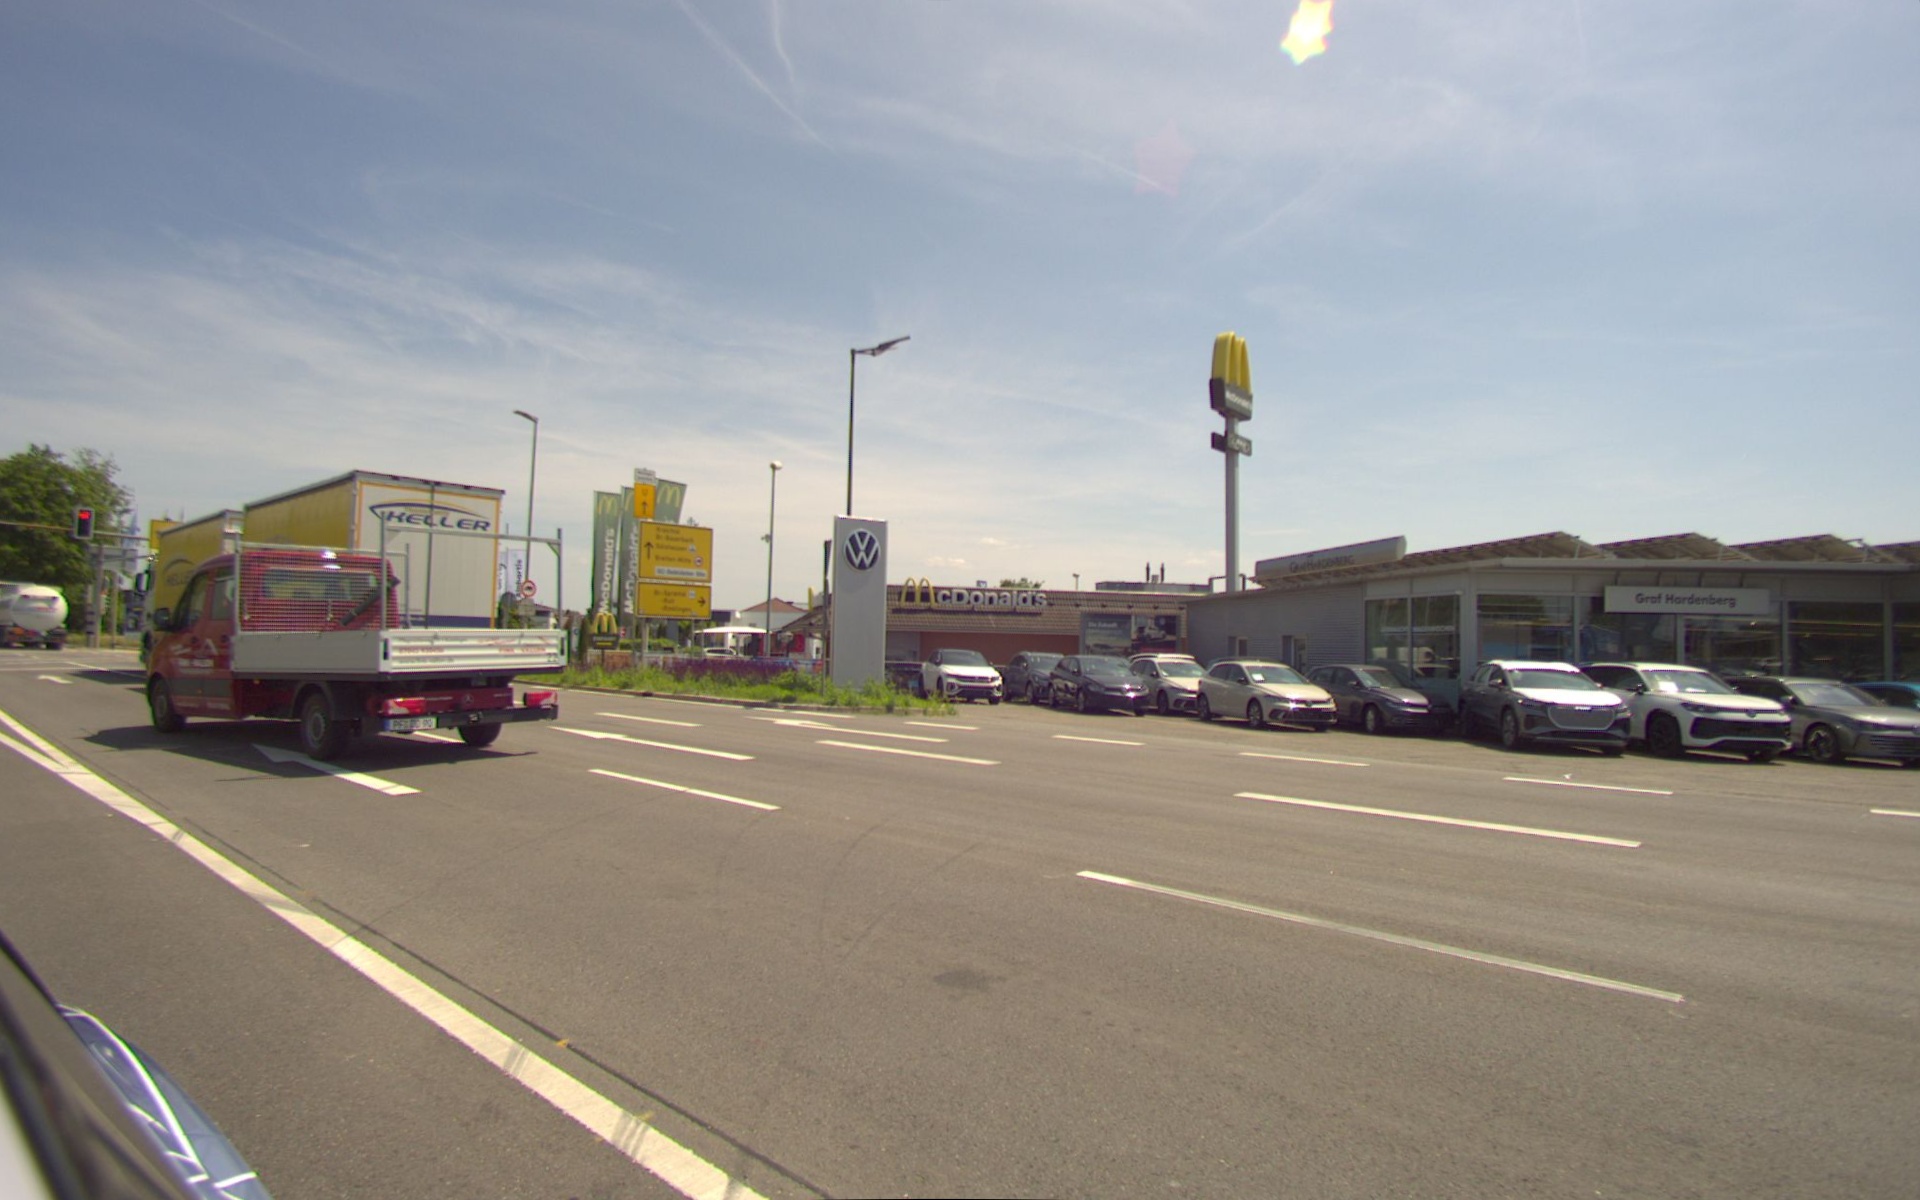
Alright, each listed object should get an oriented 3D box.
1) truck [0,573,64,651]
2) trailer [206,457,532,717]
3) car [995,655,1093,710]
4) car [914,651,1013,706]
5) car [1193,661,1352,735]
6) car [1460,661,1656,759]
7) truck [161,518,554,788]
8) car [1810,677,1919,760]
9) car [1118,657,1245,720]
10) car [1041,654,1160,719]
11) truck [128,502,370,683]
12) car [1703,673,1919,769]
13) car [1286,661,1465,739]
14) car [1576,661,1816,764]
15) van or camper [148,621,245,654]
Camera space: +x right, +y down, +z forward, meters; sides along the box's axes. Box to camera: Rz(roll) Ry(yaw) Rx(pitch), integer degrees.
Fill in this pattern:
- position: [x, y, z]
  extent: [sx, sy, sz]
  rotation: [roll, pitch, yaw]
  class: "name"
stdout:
- position: [-55.048, 0.802, 58.946]
  extent: [15.125, 4.049, 2.577]
  rotation: [-2, -2, 42]
  class: "truck"
- position: [-12.785, -0.087, 21.284]
  extent: [10.057, 4.319, 2.979]
  rotation: [-1, -3, 42]
  class: "trailer"
- position: [2.444, 2.446, 30.492]
  extent: [1.793, 1.490, 4.010]
  rotation: [2, -3, -12]
  class: "car"
- position: [0.020, 2.280, 30.002]
  extent: [2.092, 1.490, 4.010]
  rotation: [2, -3, -12]
  class: "car"
- position: [6.915, 2.140, 22.853]
  extent: [1.741, 1.426, 3.991]
  rotation: [2, -3, -11]
  class: "car"
- position: [11.041, 1.954, 19.051]
  extent: [1.803, 1.557, 4.127]
  rotation: [1, -3, 10]
  class: "car"
- position: [-7.702, 0.525, 12.456]
  extent: [6.873, 2.463, 2.370]
  rotation: [-1, -1, 44]
  class: "truck"
- position: [18.167, 2.199, 18.505]
  extent: [1.799, 1.421, 4.168]
  rotation: [1, -3, 2]
  class: "car"
- position: [5.814, 2.311, 27.075]
  extent: [1.793, 1.490, 4.010]
  rotation: [2, -3, -12]
  class: "car"
- position: [3.568, 2.200, 26.419]
  extent: [1.748, 1.490, 4.010]
  rotation: [2, -3, -12]
  class: "car"
- position: [-19.654, -0.016, 27.594]
  extent: [10.352, 4.136, 2.996]
  rotation: [-1, -4, 42]
  class: "truck"
- position: [15.729, 2.090, 18.156]
  extent: [1.799, 1.421, 4.168]
  rotation: [1, -3, 2]
  class: "car"
- position: [9.032, 2.137, 22.414]
  extent: [1.586, 1.490, 4.113]
  rotation: [2, -3, -12]
  class: "car"
- position: [13.200, 1.956, 18.502]
  extent: [1.801, 1.586, 3.991]
  rotation: [1, -3, 7]
  class: "car"
- position: [-57.425, 2.847, 76.226]
  extent: [2.094, 2.431, 5.399]
  rotation: [-1, -3, 37]
  class: "van or camper"
